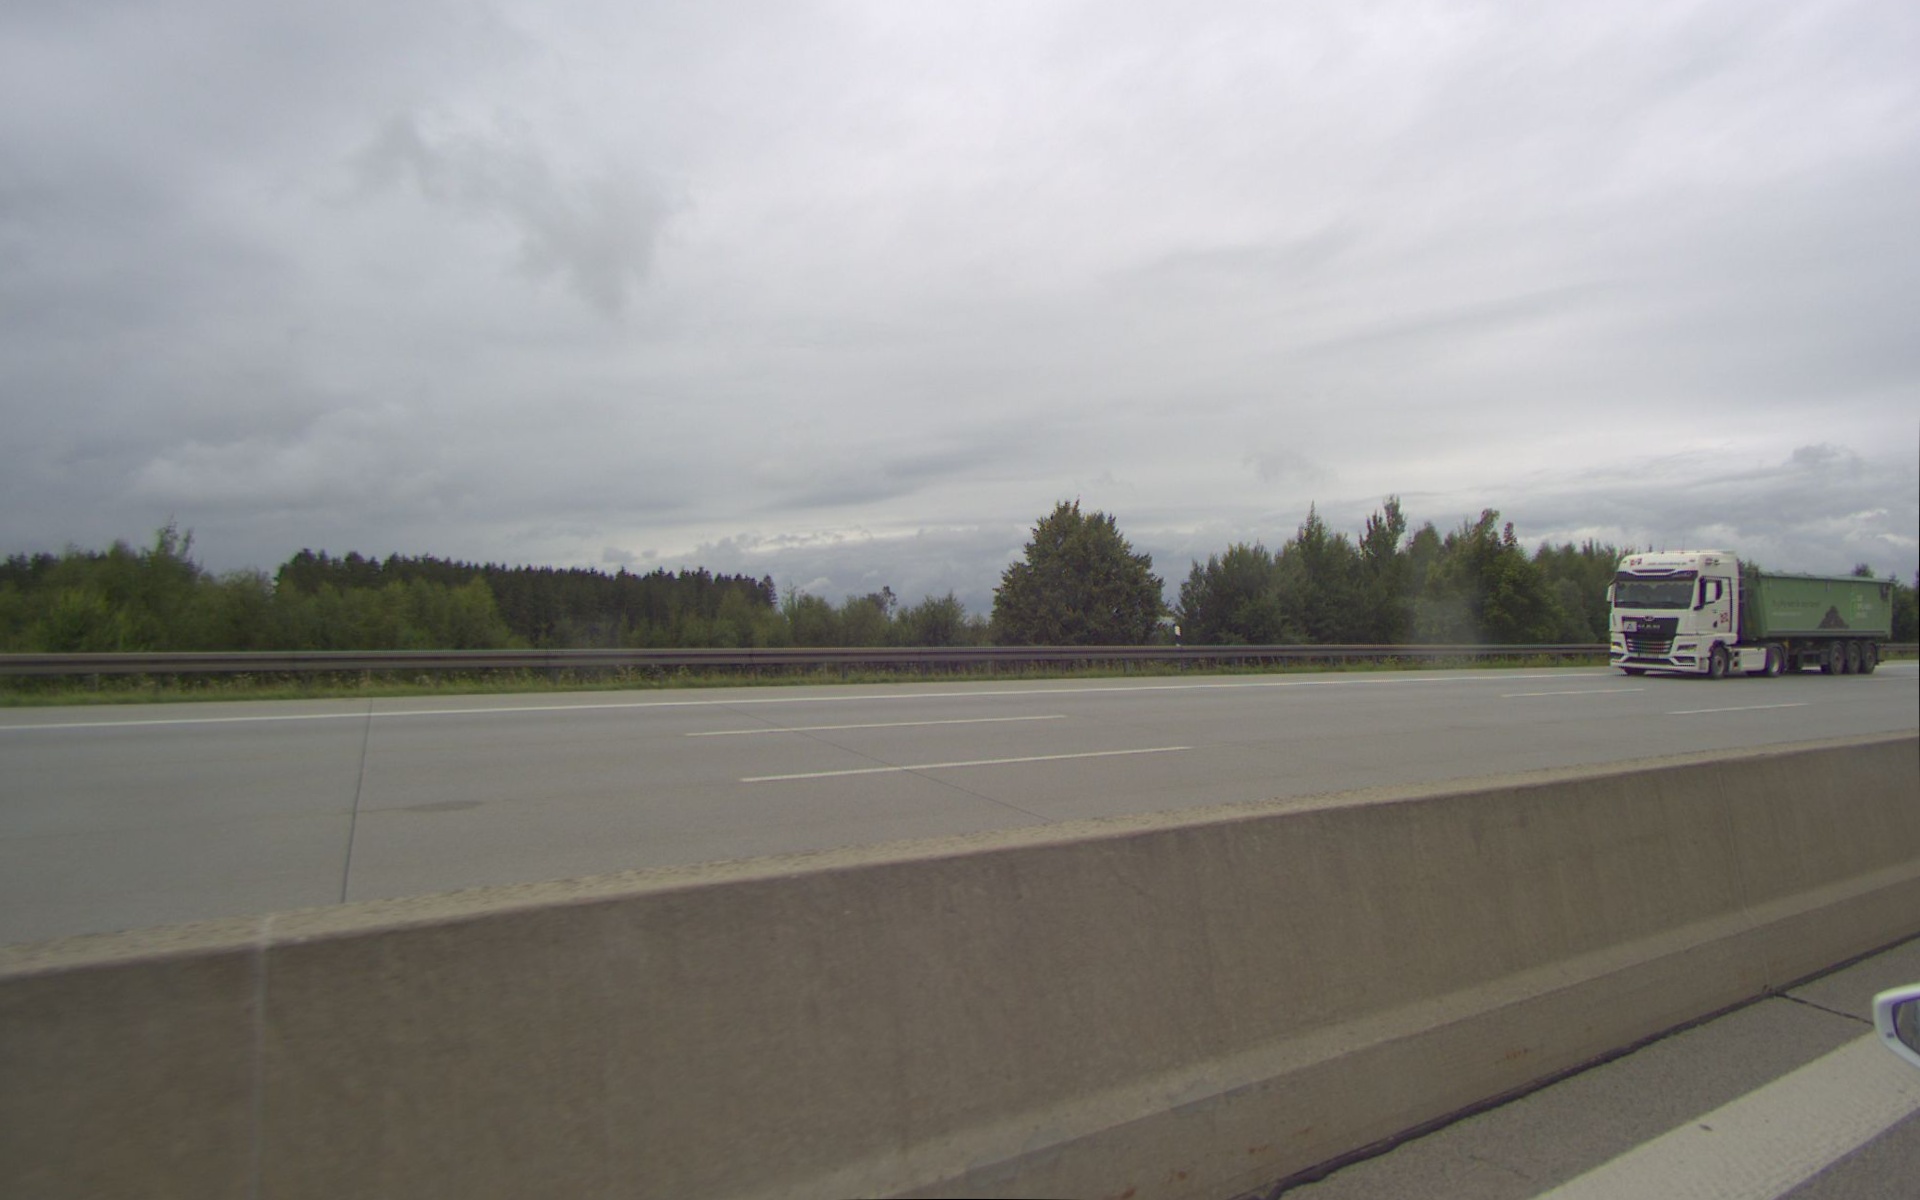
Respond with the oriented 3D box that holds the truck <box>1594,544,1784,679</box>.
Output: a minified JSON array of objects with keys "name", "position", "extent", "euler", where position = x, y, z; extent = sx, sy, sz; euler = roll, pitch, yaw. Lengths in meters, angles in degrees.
[{"name":"truck","position":[22.719,0.399,31.292],"extent":[5.464,3.852,2.738],"euler":[2,-1,-30]}]

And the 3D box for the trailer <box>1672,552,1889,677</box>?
[{"name":"trailer","position":[28.361,0.530,34.572],"extent":[9.206,3.850,2.736],"euler":[1,0,-30]}]
